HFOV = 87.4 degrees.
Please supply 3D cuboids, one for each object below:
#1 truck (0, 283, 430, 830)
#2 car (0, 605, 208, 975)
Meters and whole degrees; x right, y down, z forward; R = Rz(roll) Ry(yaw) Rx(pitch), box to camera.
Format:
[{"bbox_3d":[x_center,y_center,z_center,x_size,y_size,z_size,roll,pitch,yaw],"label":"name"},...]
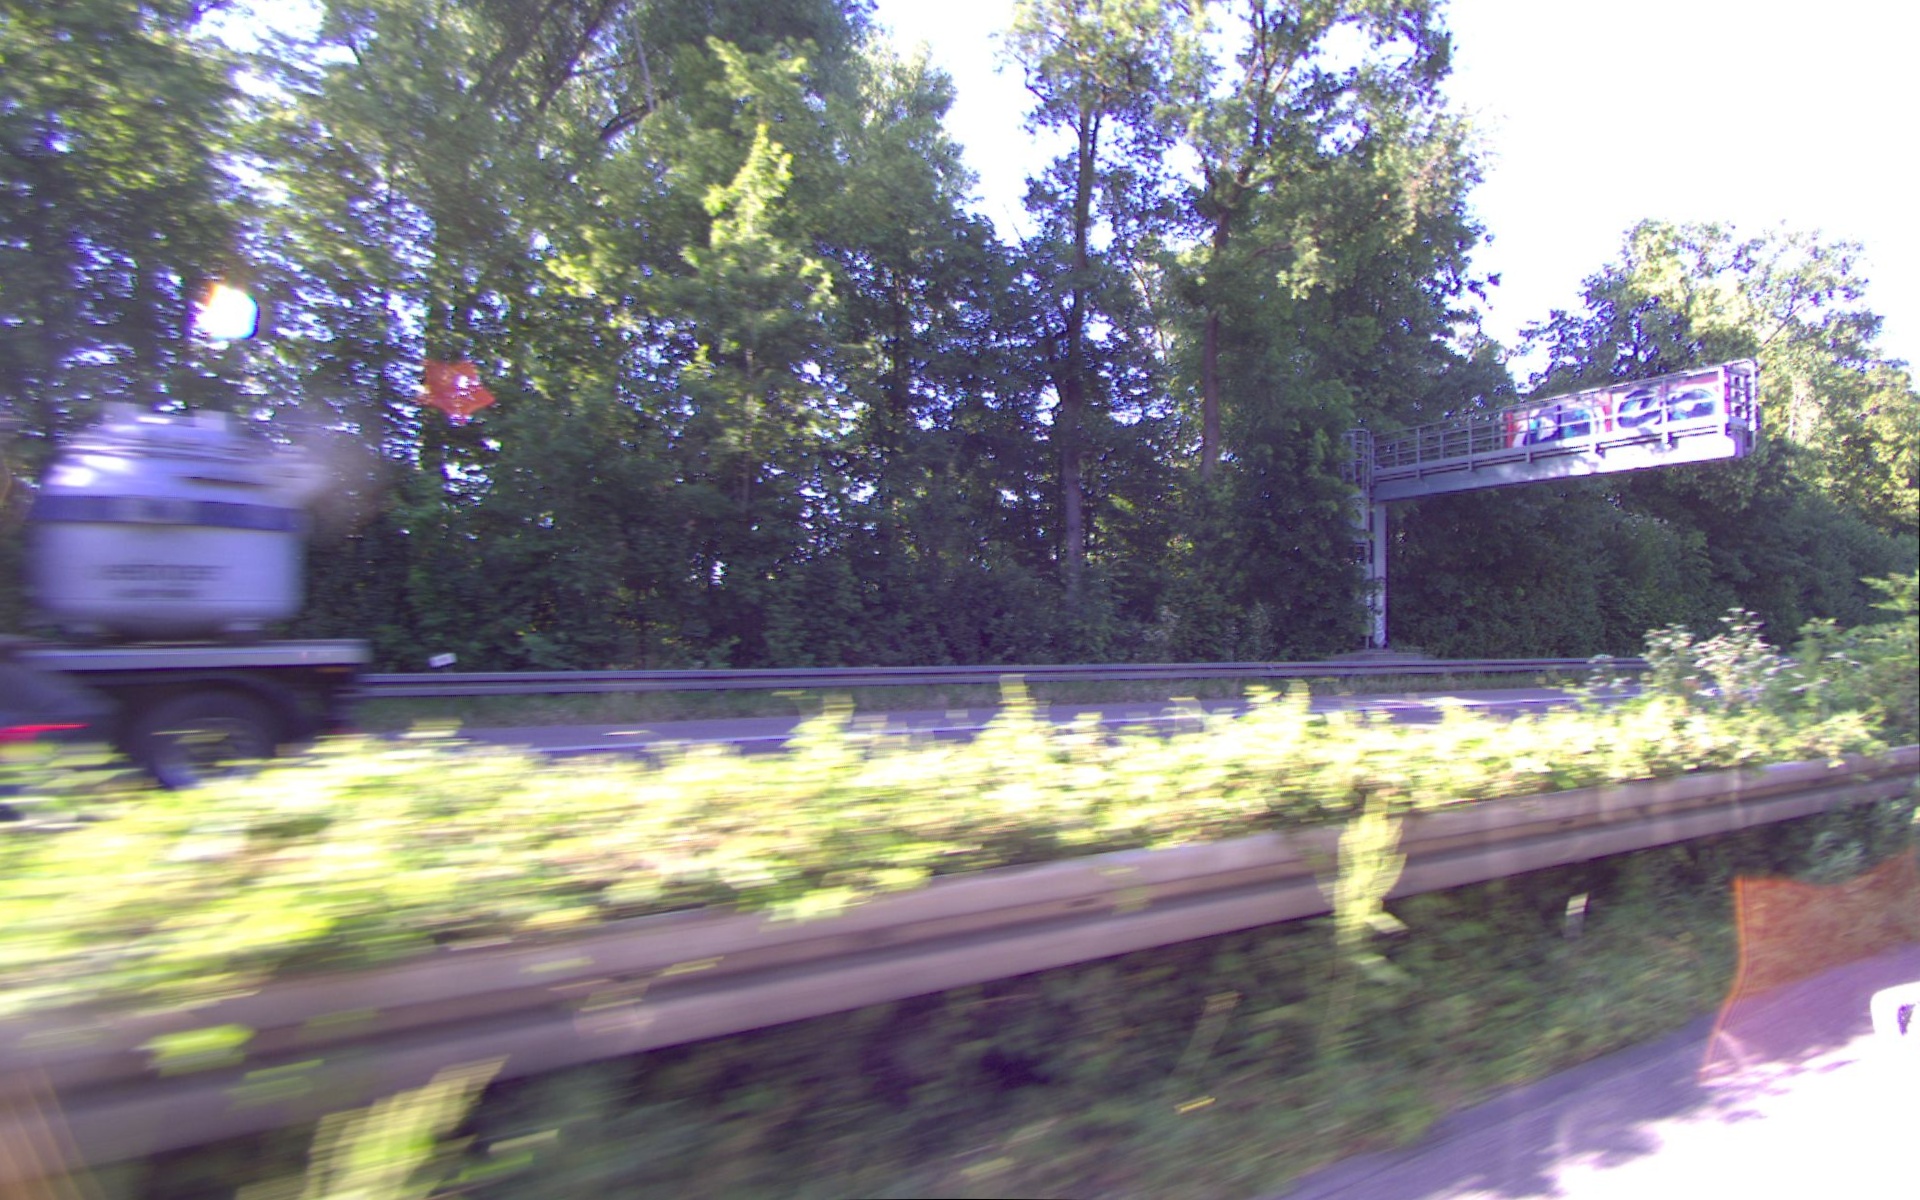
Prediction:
[{"bbox_3d":[-10.224,-0.418,7.067,11.333,4.008,2.756,2,0,-31],"label":"truck"},{"bbox_3d":[-6.469,0.844,4.562,4.643,1.691,1.787,2,0,-30],"label":"car"}]
